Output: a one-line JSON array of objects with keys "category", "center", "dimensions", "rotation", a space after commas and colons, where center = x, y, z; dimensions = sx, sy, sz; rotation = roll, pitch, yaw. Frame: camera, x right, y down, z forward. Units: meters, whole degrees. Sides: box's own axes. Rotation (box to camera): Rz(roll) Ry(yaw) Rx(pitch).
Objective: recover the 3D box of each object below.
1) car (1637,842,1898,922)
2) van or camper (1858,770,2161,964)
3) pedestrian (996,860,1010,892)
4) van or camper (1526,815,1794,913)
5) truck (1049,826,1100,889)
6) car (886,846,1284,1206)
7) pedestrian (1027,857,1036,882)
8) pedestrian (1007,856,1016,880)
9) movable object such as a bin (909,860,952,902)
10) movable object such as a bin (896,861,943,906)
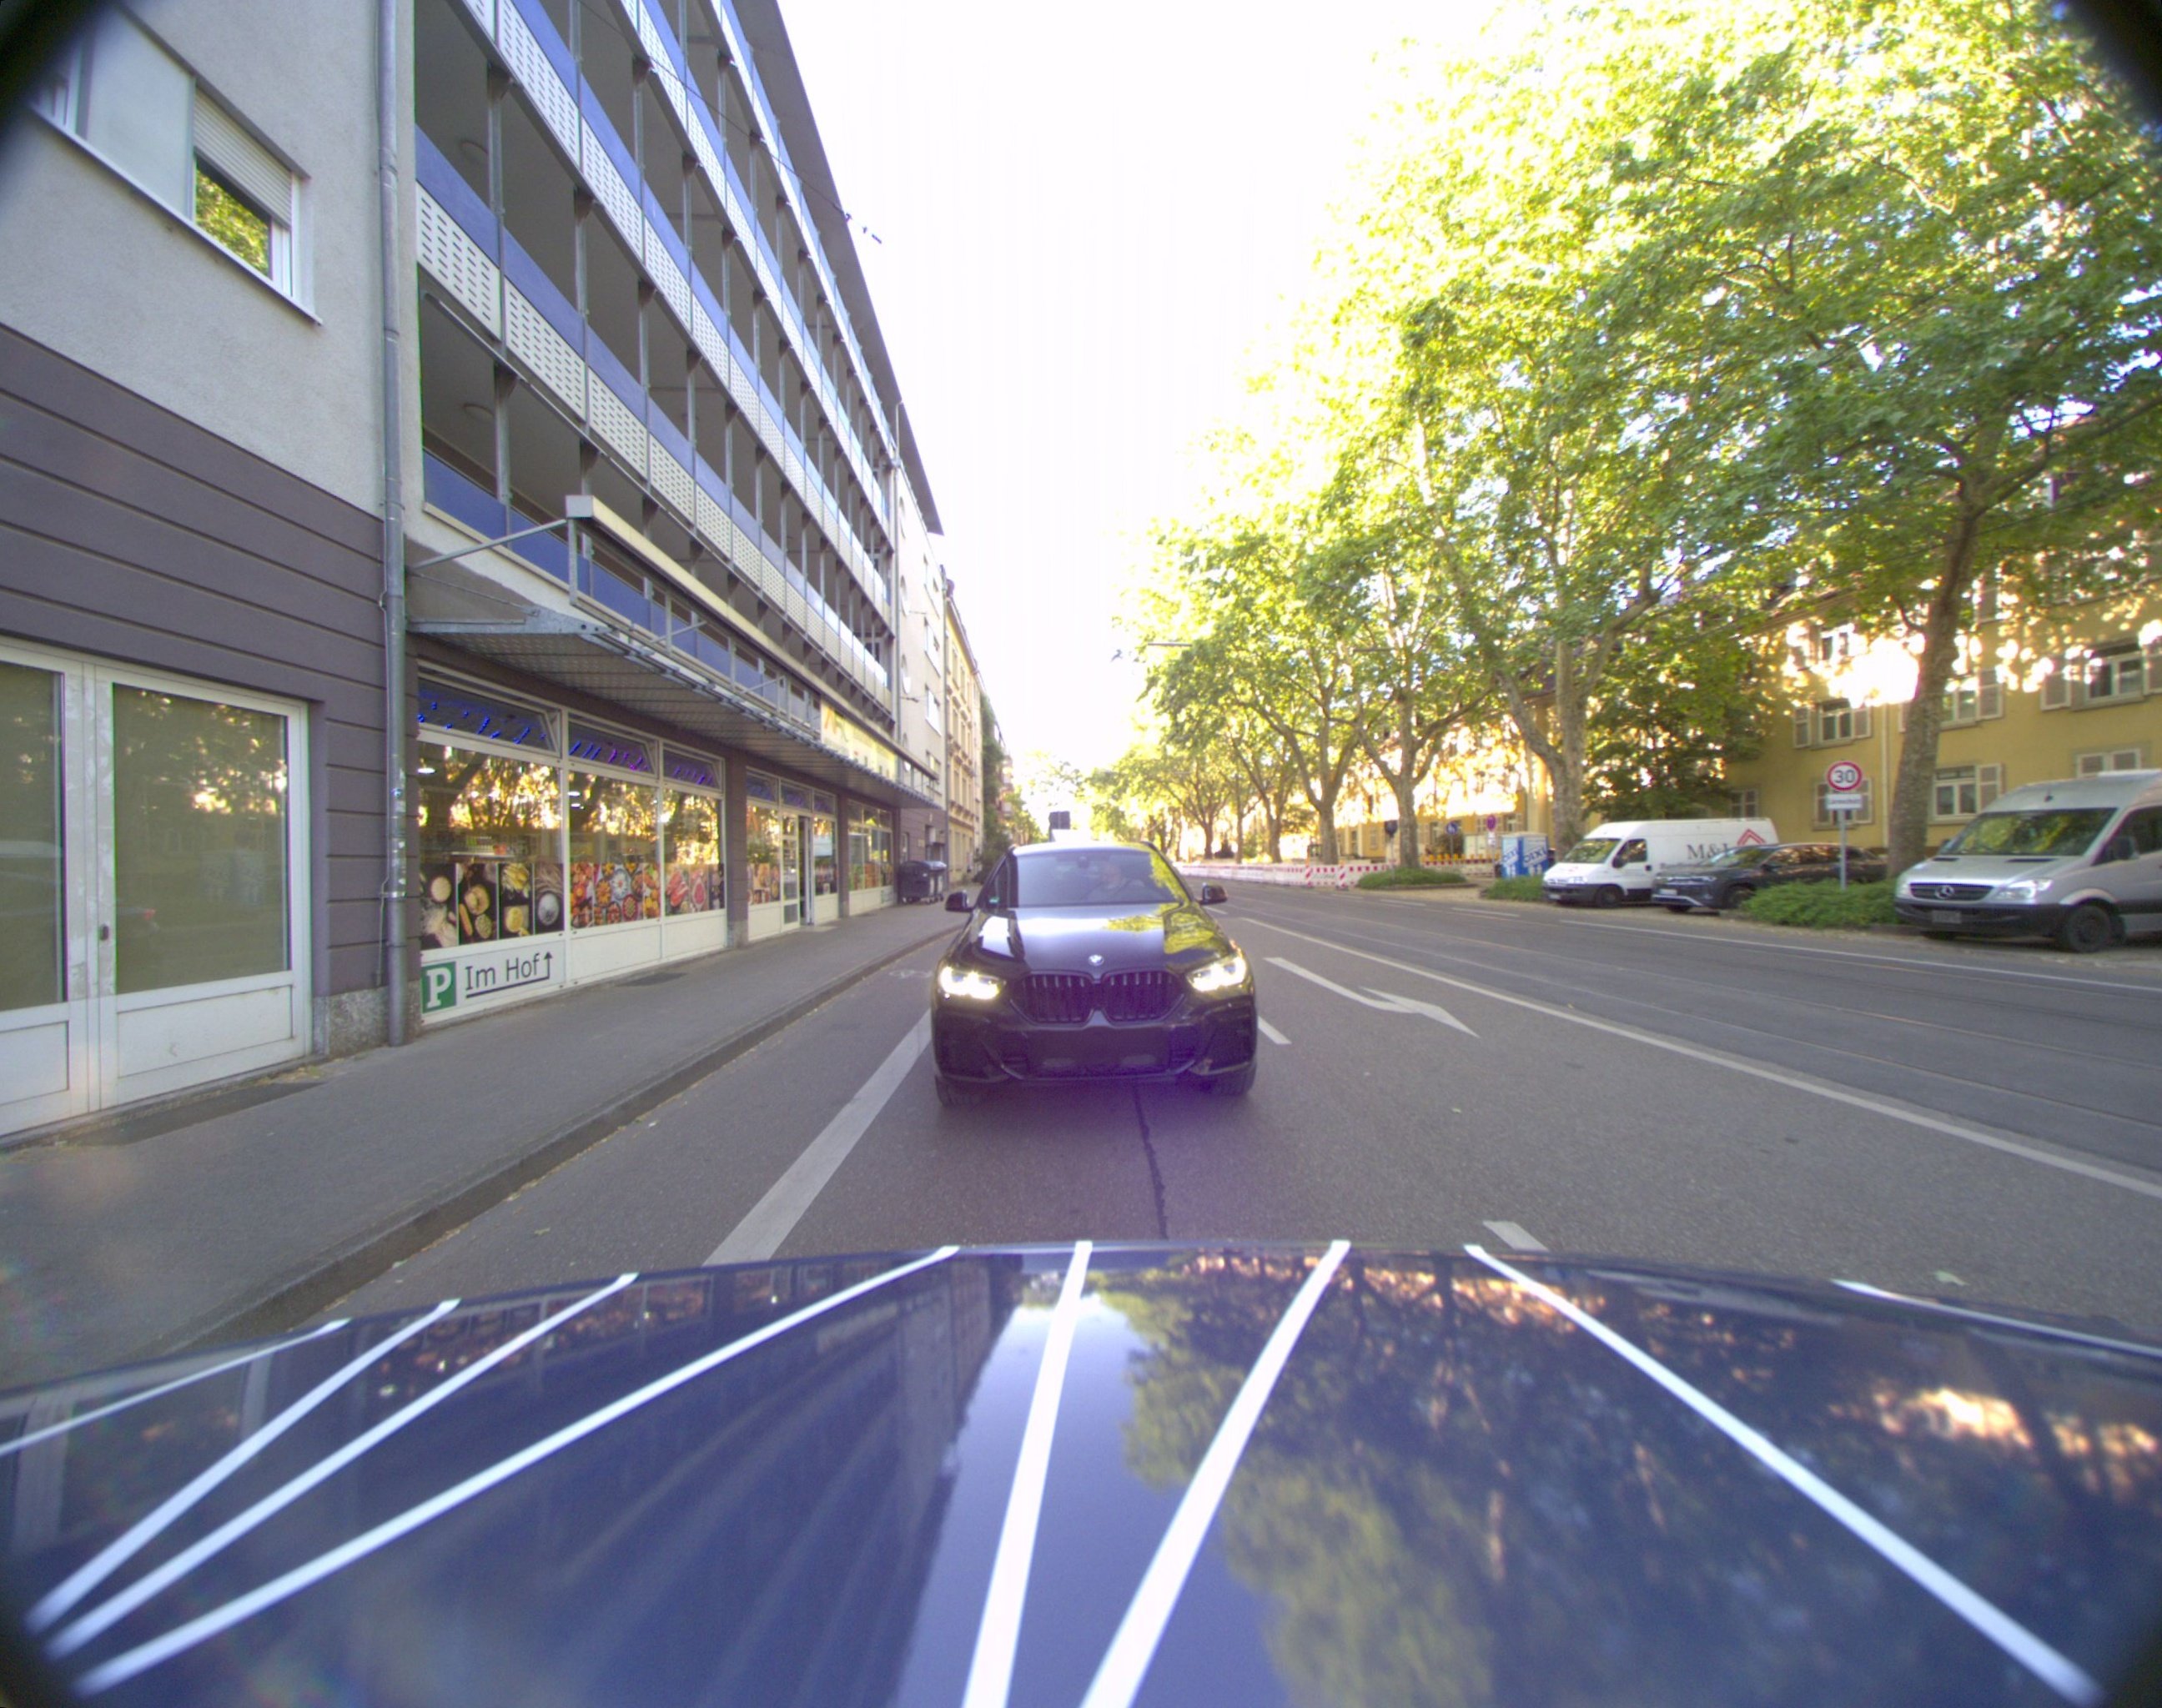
[{"category": "car", "center": [15.987, 0.614, 17.855], "dimensions": [4.540, 1.624, 1.693], "rotation": [-2, 1, 1]}, {"category": "van or camper", "center": [15.998, 0.095, 11.660], "dimensions": [5.931, 2.633, 2.156], "rotation": [-2, 1, 0]}, {"category": "pedestrian", "center": [-3.582, 1.015, 34.894], "dimensions": [0.541, 1.437, 0.630], "rotation": [-1, 0, 1]}, {"category": "van or camper", "center": [15.864, 0.252, 21.066], "dimensions": [5.763, 2.371, 2.156], "rotation": [-2, 1, 0]}, {"category": "truck", "center": [-0.446, 0.143, 41.098], "dimensions": [2.344, 3.095, 5.210], "rotation": [-2, 1, -4]}, {"category": "car", "center": [0.061, 0.842, 6.145], "dimensions": [1.930, 1.742, 4.683], "rotation": [-2, 1, 1]}, {"category": "pedestrian", "center": [-3.261, 1.002, 50.390], "dimensions": [0.541, 1.662, 0.630], "rotation": [-1, 0, 1]}, {"category": "pedestrian", "center": [-4.774, 0.947, 52.293], "dimensions": [0.541, 1.662, 0.513], "rotation": [-1, 0, 1]}, {"category": "movable object such as a bin", "center": [-5.290, 0.933, 26.825], "dimensions": [1.203, 1.402, 1.372], "rotation": [-1, 0, 1]}, {"category": "movable object such as a bin", "center": [-5.265, 0.954, 24.825], "dimensions": [1.203, 1.402, 1.372], "rotation": [-1, 0, 1]}]
